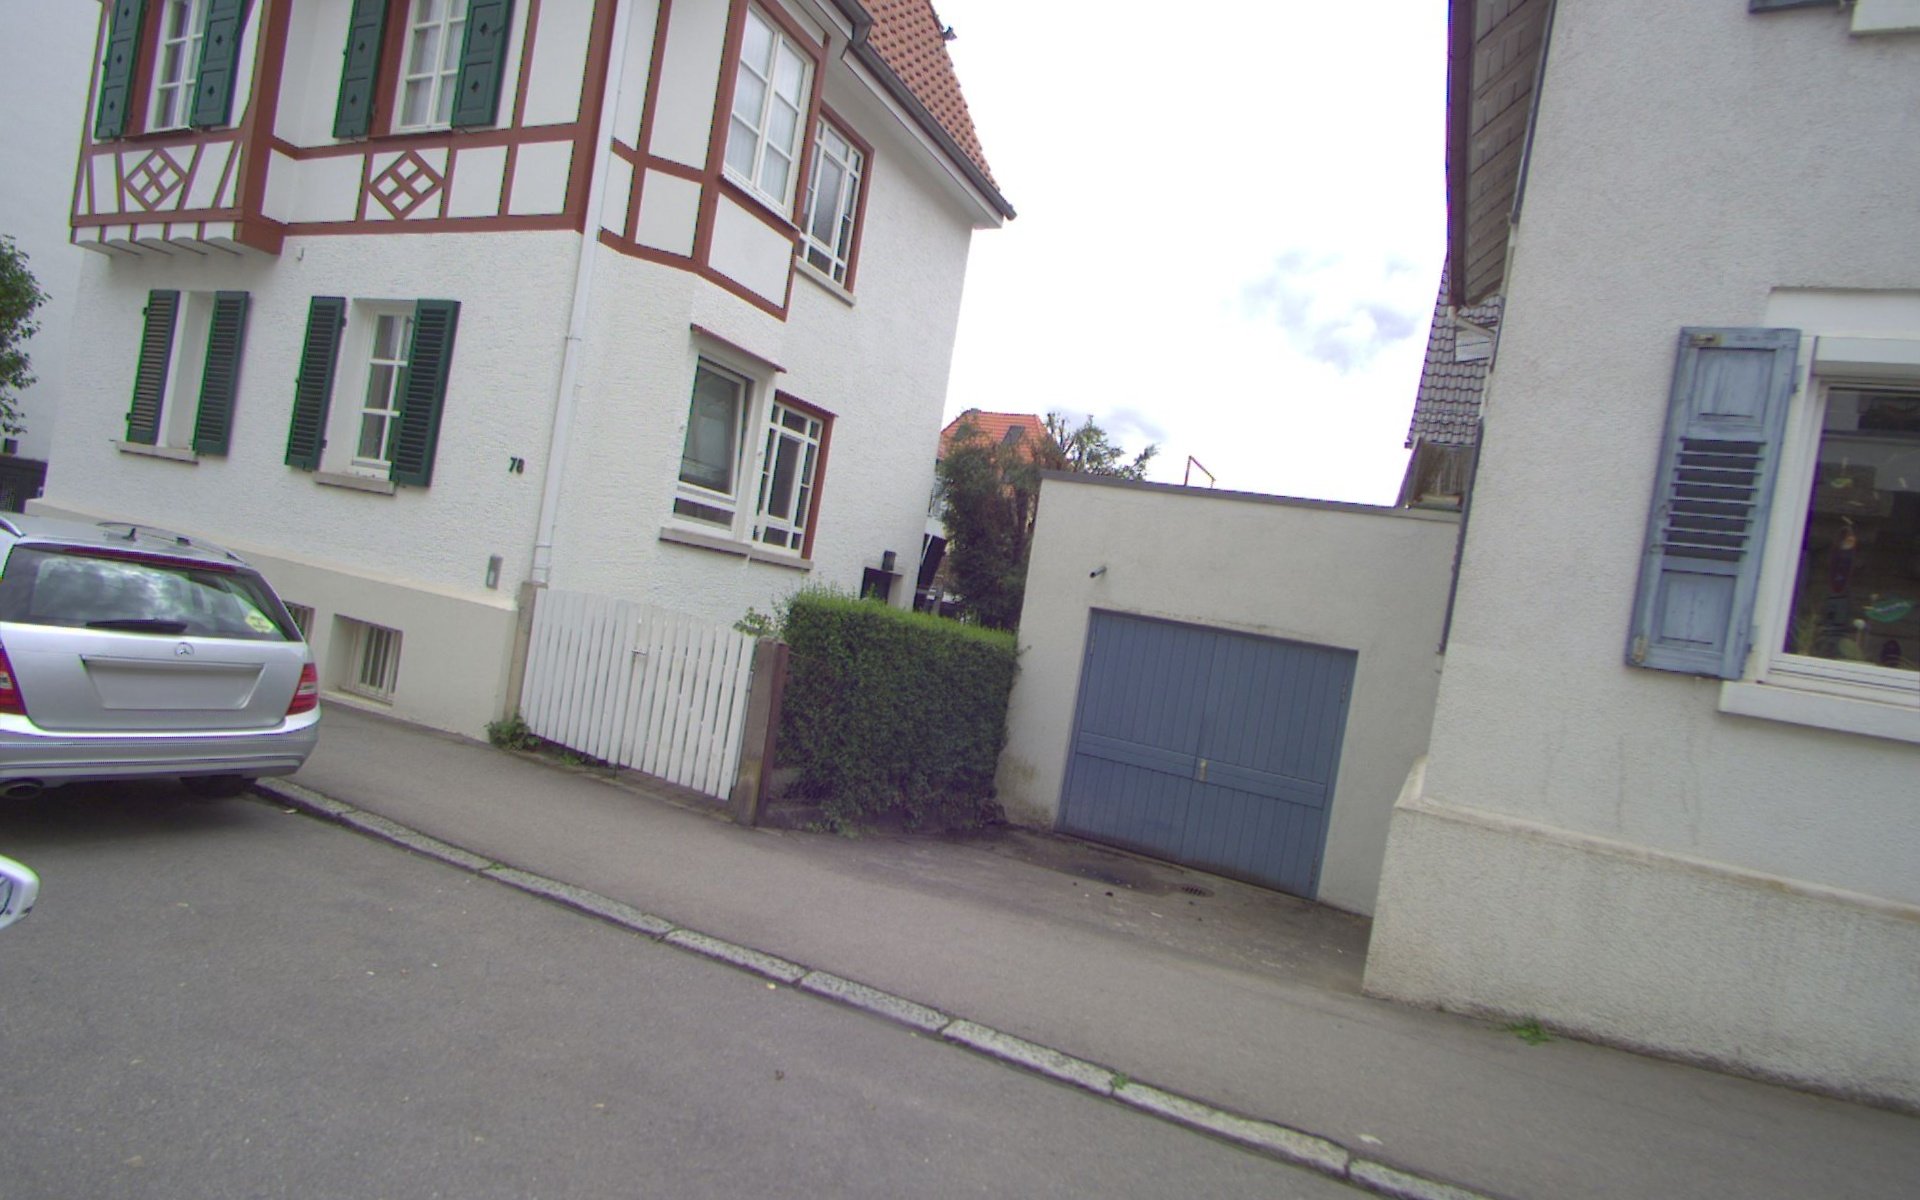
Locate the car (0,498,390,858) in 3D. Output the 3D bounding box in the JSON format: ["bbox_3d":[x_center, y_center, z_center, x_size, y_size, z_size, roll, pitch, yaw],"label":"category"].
[{"bbox_3d":[-5.559,0.140,5.604,4.371,1.458,1.825,7,-2,25],"label":"car"}]
